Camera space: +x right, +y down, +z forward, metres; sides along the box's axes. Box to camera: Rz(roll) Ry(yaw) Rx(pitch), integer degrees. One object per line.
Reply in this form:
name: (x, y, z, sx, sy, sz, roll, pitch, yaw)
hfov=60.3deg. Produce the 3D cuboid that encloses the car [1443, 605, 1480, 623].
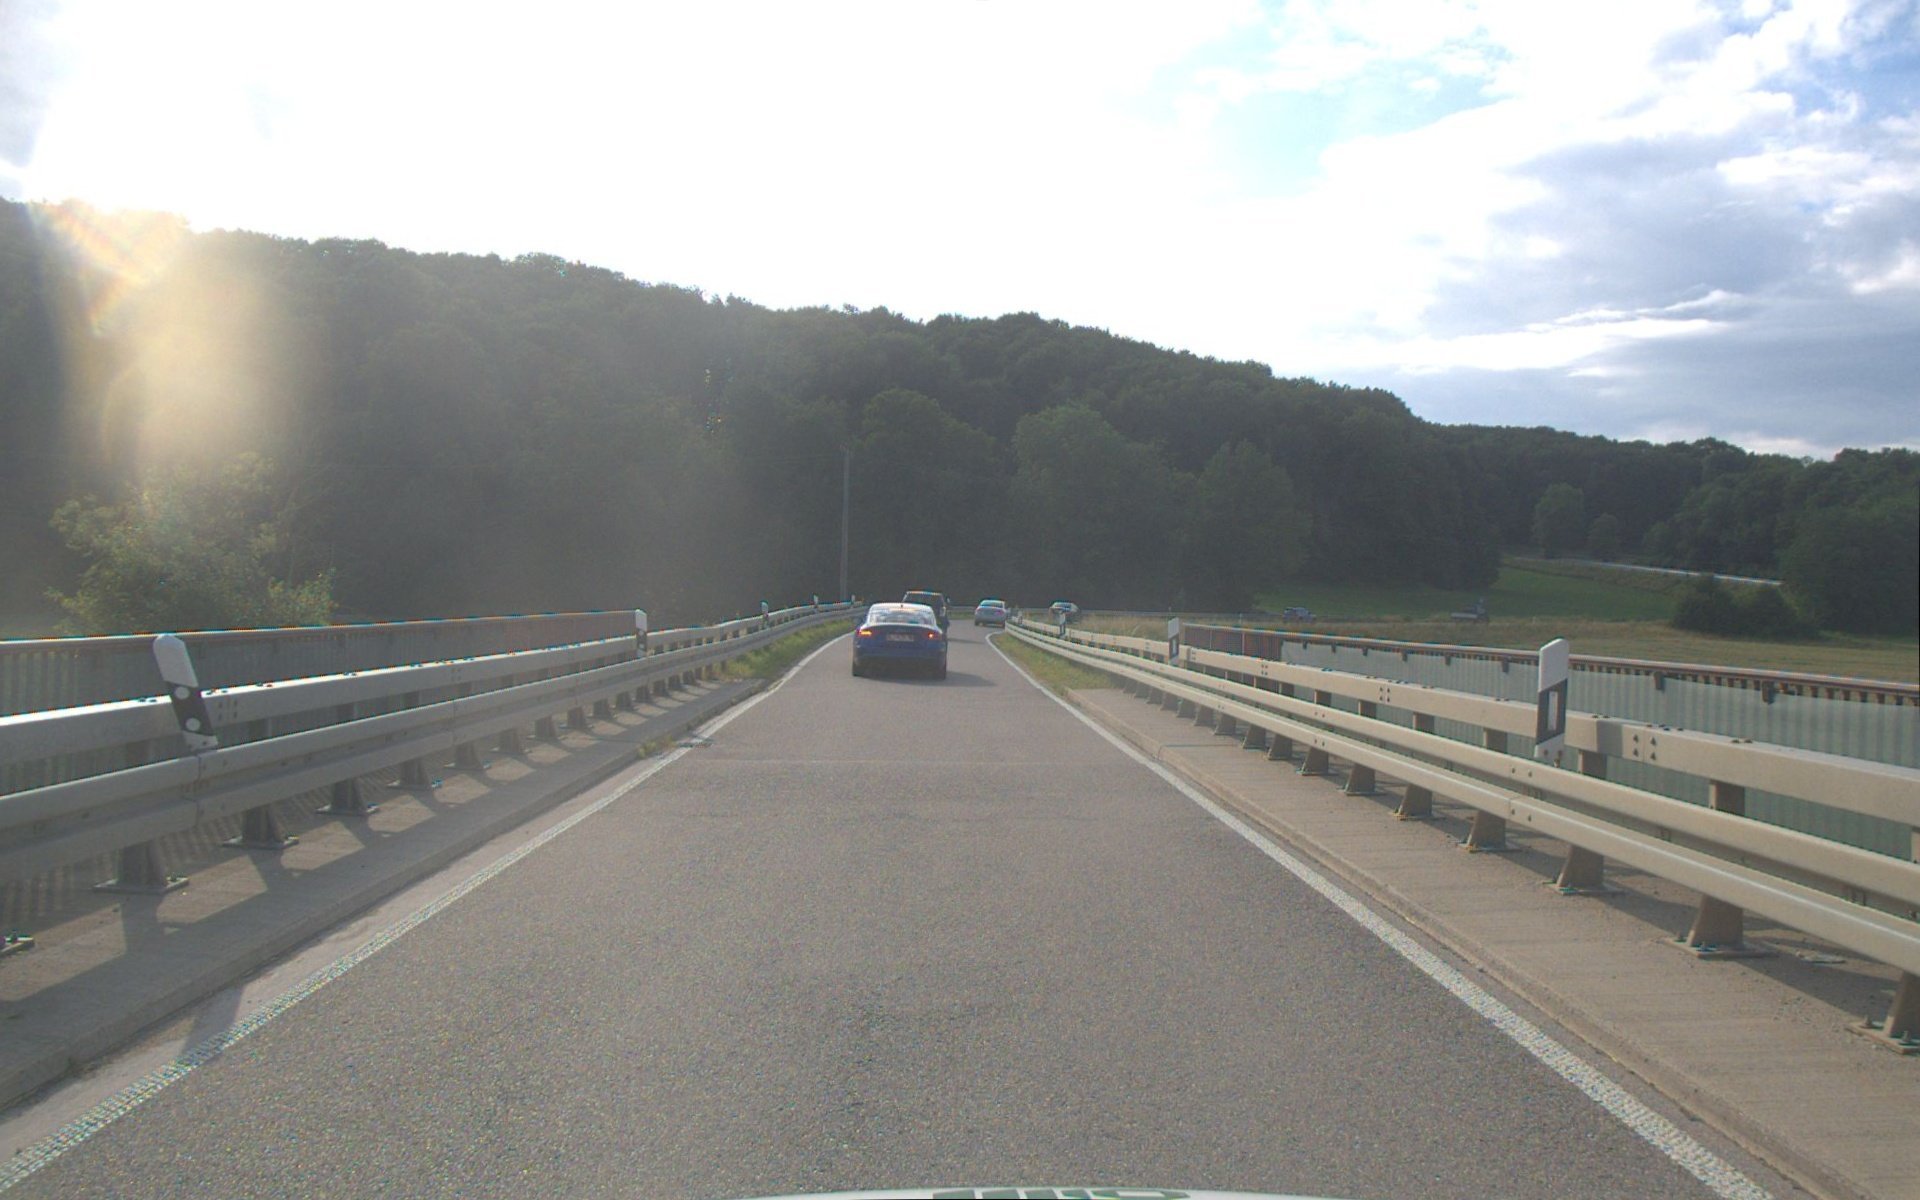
car: (56.208, 1.599, 185.308, 3.956, 1.803, 1.974, 4, -2, -37)

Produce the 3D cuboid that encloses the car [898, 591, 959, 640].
car: (-1.081, 0.554, 58.545, 1.823, 1.596, 4.001, 2, -1, 3)

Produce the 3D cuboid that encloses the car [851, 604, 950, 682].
car: (-1.202, 0.801, 32.378, 1.782, 1.362, 4.347, 2, 0, -3)

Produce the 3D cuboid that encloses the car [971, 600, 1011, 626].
car: (1.739, 0.716, 91.688, 1.646, 1.400, 4.003, 2, 0, 10)

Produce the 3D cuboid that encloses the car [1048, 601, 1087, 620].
car: (7.420, 0.715, 114.159, 1.443, 1.248, 3.295, 1, 0, 27)

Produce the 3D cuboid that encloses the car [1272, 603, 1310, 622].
car: (32.414, 1.226, 161.740, 1.962, 1.708, 4.159, 3, 0, 38)
